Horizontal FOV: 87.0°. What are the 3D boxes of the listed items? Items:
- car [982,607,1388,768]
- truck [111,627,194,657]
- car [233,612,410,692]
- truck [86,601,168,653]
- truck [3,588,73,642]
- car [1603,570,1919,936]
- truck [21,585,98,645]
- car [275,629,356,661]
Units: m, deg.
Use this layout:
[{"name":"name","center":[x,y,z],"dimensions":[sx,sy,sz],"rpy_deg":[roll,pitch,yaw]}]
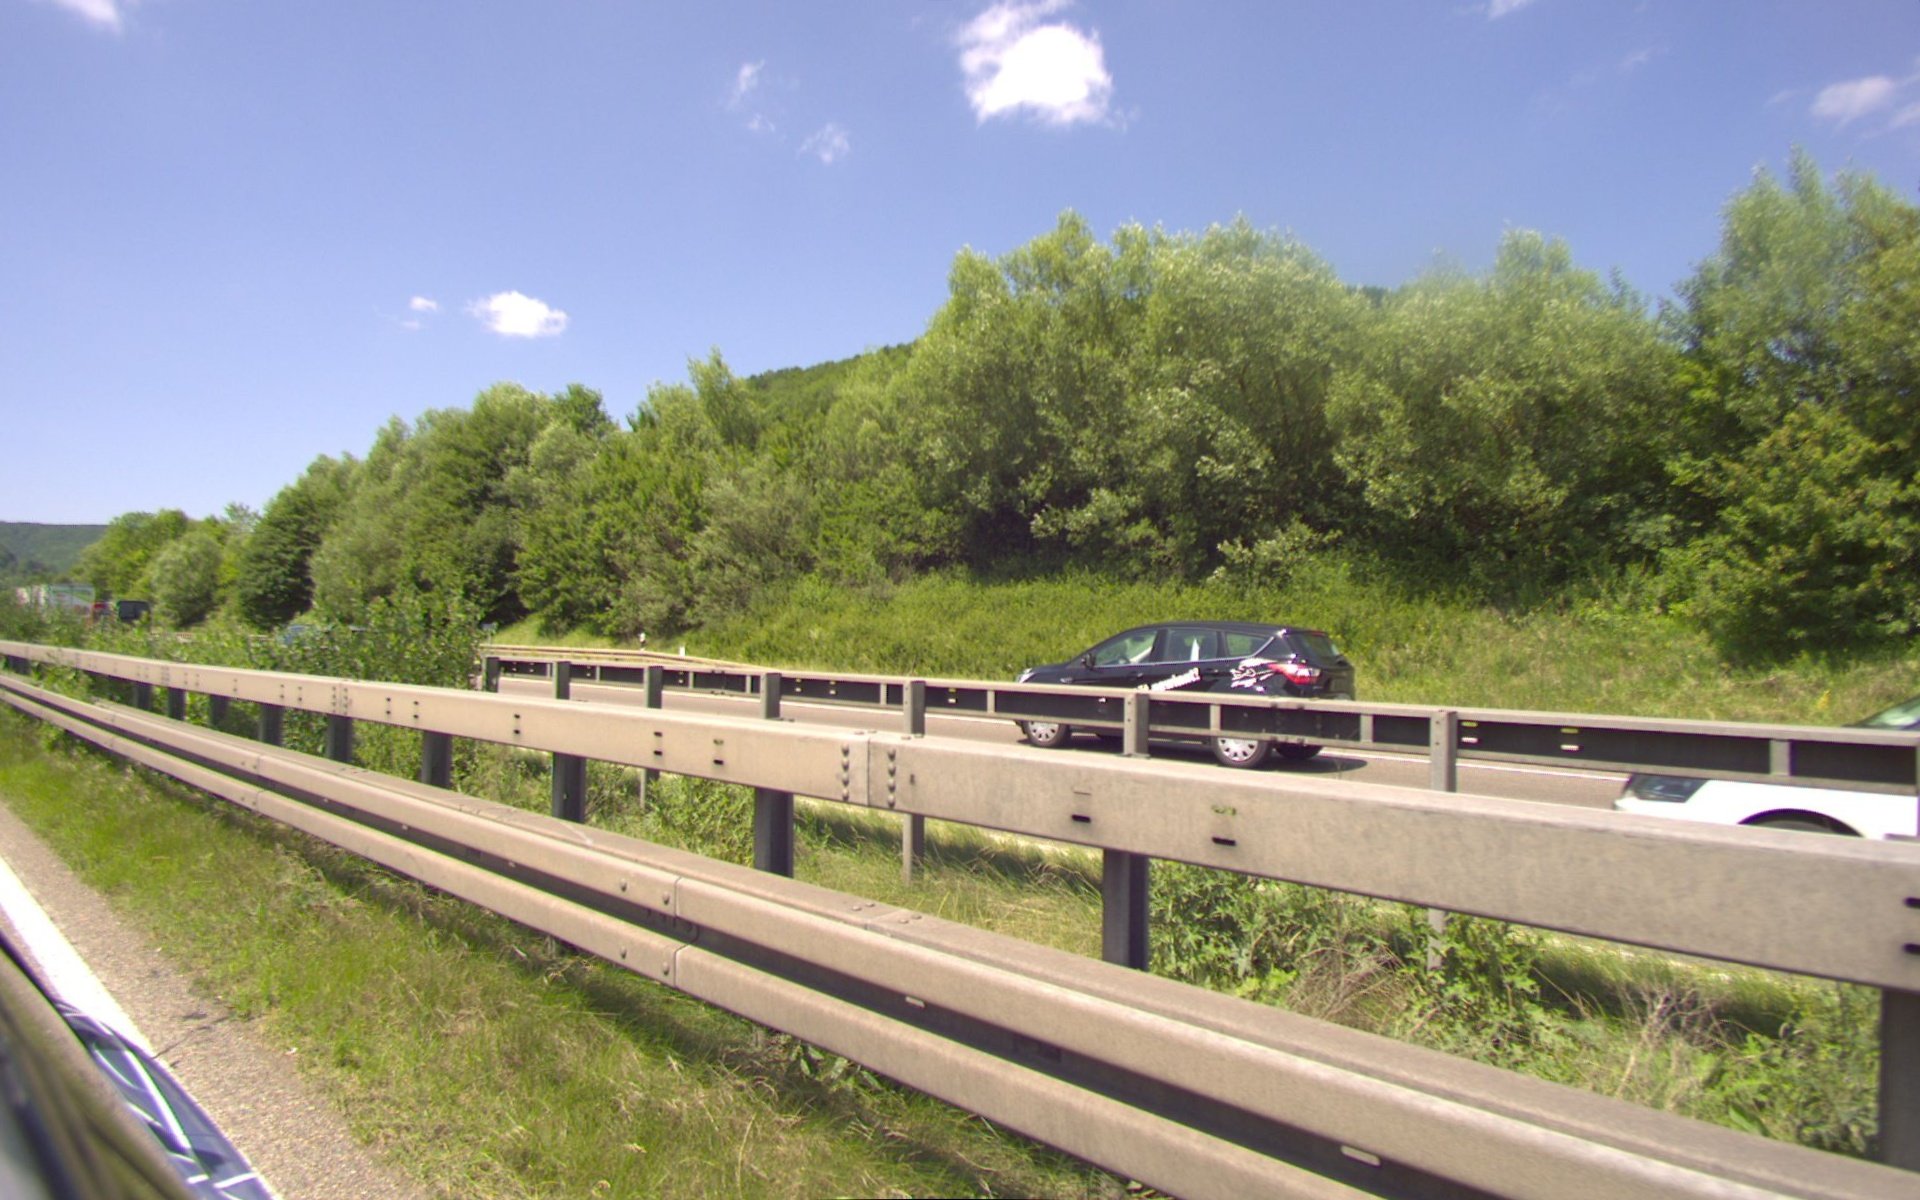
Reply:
[{"name":"car","center":[2.631,0.970,12.530],"dimensions":[4.559,1.633,1.902],"rpy_deg":[-1,-4,41]},{"name":"truck","center":[-39.445,1.992,49.337],"dimensions":[7.010,1.344,2.185],"rpy_deg":[-1,-2,43]},{"name":"car","center":[-13.773,1.041,21.737],"dimensions":[4.675,1.530,1.972],"rpy_deg":[-1,-2,41]},{"name":"truck","center":[-44.936,1.439,54.494],"dimensions":[7.966,2.608,2.271],"rpy_deg":[-1,-1,42]},{"name":"truck","center":[-72.448,1.215,79.438],"dimensions":[10.165,4.037,2.839],"rpy_deg":[-1,-1,41]},{"name":"car","center":[5.623,0.721,4.644],"dimensions":[4.272,1.626,1.972],"rpy_deg":[-1,-4,41]},{"name":"truck","center":[-65.176,1.115,73.145],"dimensions":[9.026,4.011,2.839],"rpy_deg":[-1,-3,41]},{"name":"car","center":[-29.695,2.059,46.586],"dimensions":[4.103,1.366,1.974],"rpy_deg":[-1,-2,39]}]
